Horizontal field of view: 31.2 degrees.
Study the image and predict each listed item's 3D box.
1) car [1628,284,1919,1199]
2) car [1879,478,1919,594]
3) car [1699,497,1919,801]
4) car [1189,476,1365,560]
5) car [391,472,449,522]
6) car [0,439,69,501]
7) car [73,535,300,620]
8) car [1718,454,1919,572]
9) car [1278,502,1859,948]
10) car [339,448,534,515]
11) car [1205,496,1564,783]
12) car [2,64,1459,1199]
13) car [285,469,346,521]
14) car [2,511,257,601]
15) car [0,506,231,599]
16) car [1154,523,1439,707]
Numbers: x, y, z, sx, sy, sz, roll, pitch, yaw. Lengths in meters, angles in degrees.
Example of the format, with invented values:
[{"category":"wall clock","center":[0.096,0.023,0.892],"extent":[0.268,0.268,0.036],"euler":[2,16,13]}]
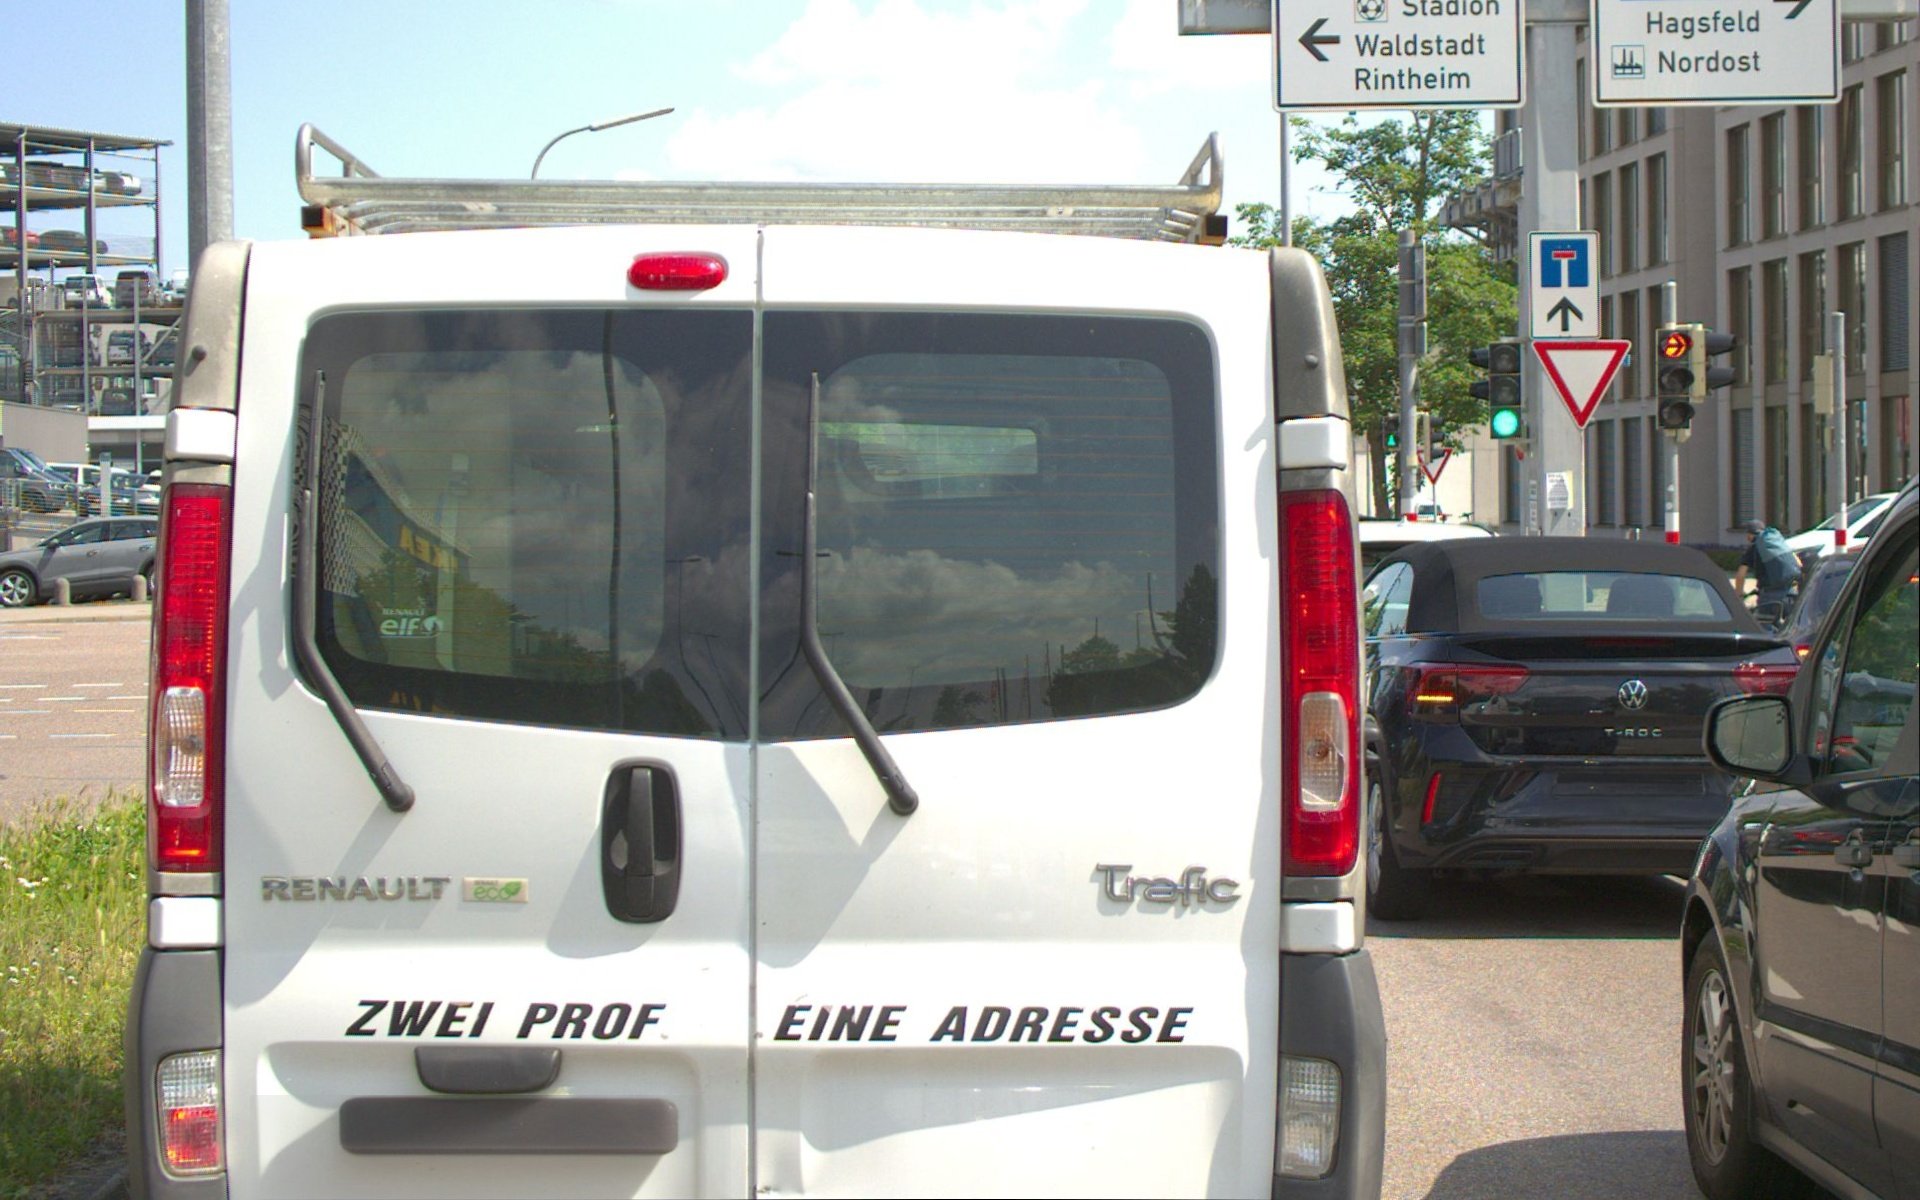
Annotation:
[{"category":"car","center":[2.477,0.428,6.110],"extent":[1.823,1.898,4.000],"euler":[0,1,1]},{"category":"car","center":[15.483,-0.878,48.998],"extent":[4.197,1.621,1.828],"euler":[1,0,-8]},{"category":"car","center":[5.720,0.377,20.811],"extent":[1.859,1.650,4.217],"euler":[1,-3,4]},{"category":"car","center":[7.884,-2.024,85.732],"extent":[3.986,2.007,2.000],"euler":[1,0,-8]},{"category":"car","center":[-17.033,-3.239,108.537],"extent":[1.560,1.546,3.603],"euler":[0,1,-5]},{"category":"car","center":[-29.268,-3.922,103.558],"extent":[4.440,1.795,1.765],"euler":[1,0,-6]},{"category":"car","center":[-16.961,-0.517,75.565],"extent":[4.574,1.672,1.908],"euler":[-2,3,-3]},{"category":"car","center":[15.032,-1.372,55.669],"extent":[4.975,1.831,2.000],"euler":[1,0,-8]},{"category":"car","center":[2.405,0.416,14.557],"extent":[1.774,1.624,4.000],"euler":[0,1,1]},{"category":"car","center":[-17.627,-3.991,115.955],"extent":[6.386,2.095,1.765],"euler":[1,0,-5]},{"category":"car","center":[2.552,0.187,21.524],"extent":[1.774,1.624,4.000],"euler":[0,1,1]},{"category":"car","center":[-0.338,0.259,6.957],"extent":[1.973,2.053,4.565],"euler":[0,1,-1]},{"category":"car","center":[-20.406,-3.318,108.986],"extent":[1.560,1.547,3.603],"euler":[1,1,-5]},{"category":"car","center":[-16.260,-0.865,67.462],"extent":[4.574,1.672,1.907],"euler":[1,0,-3]},{"category":"car","center":[-16.191,-0.893,64.715],"extent":[4.574,1.672,1.907],"euler":[1,0,-3]},{"category":"car","center":[2.790,0.101,29.365],"extent":[1.854,1.437,4.000],"euler":[1,1,-3]}]
